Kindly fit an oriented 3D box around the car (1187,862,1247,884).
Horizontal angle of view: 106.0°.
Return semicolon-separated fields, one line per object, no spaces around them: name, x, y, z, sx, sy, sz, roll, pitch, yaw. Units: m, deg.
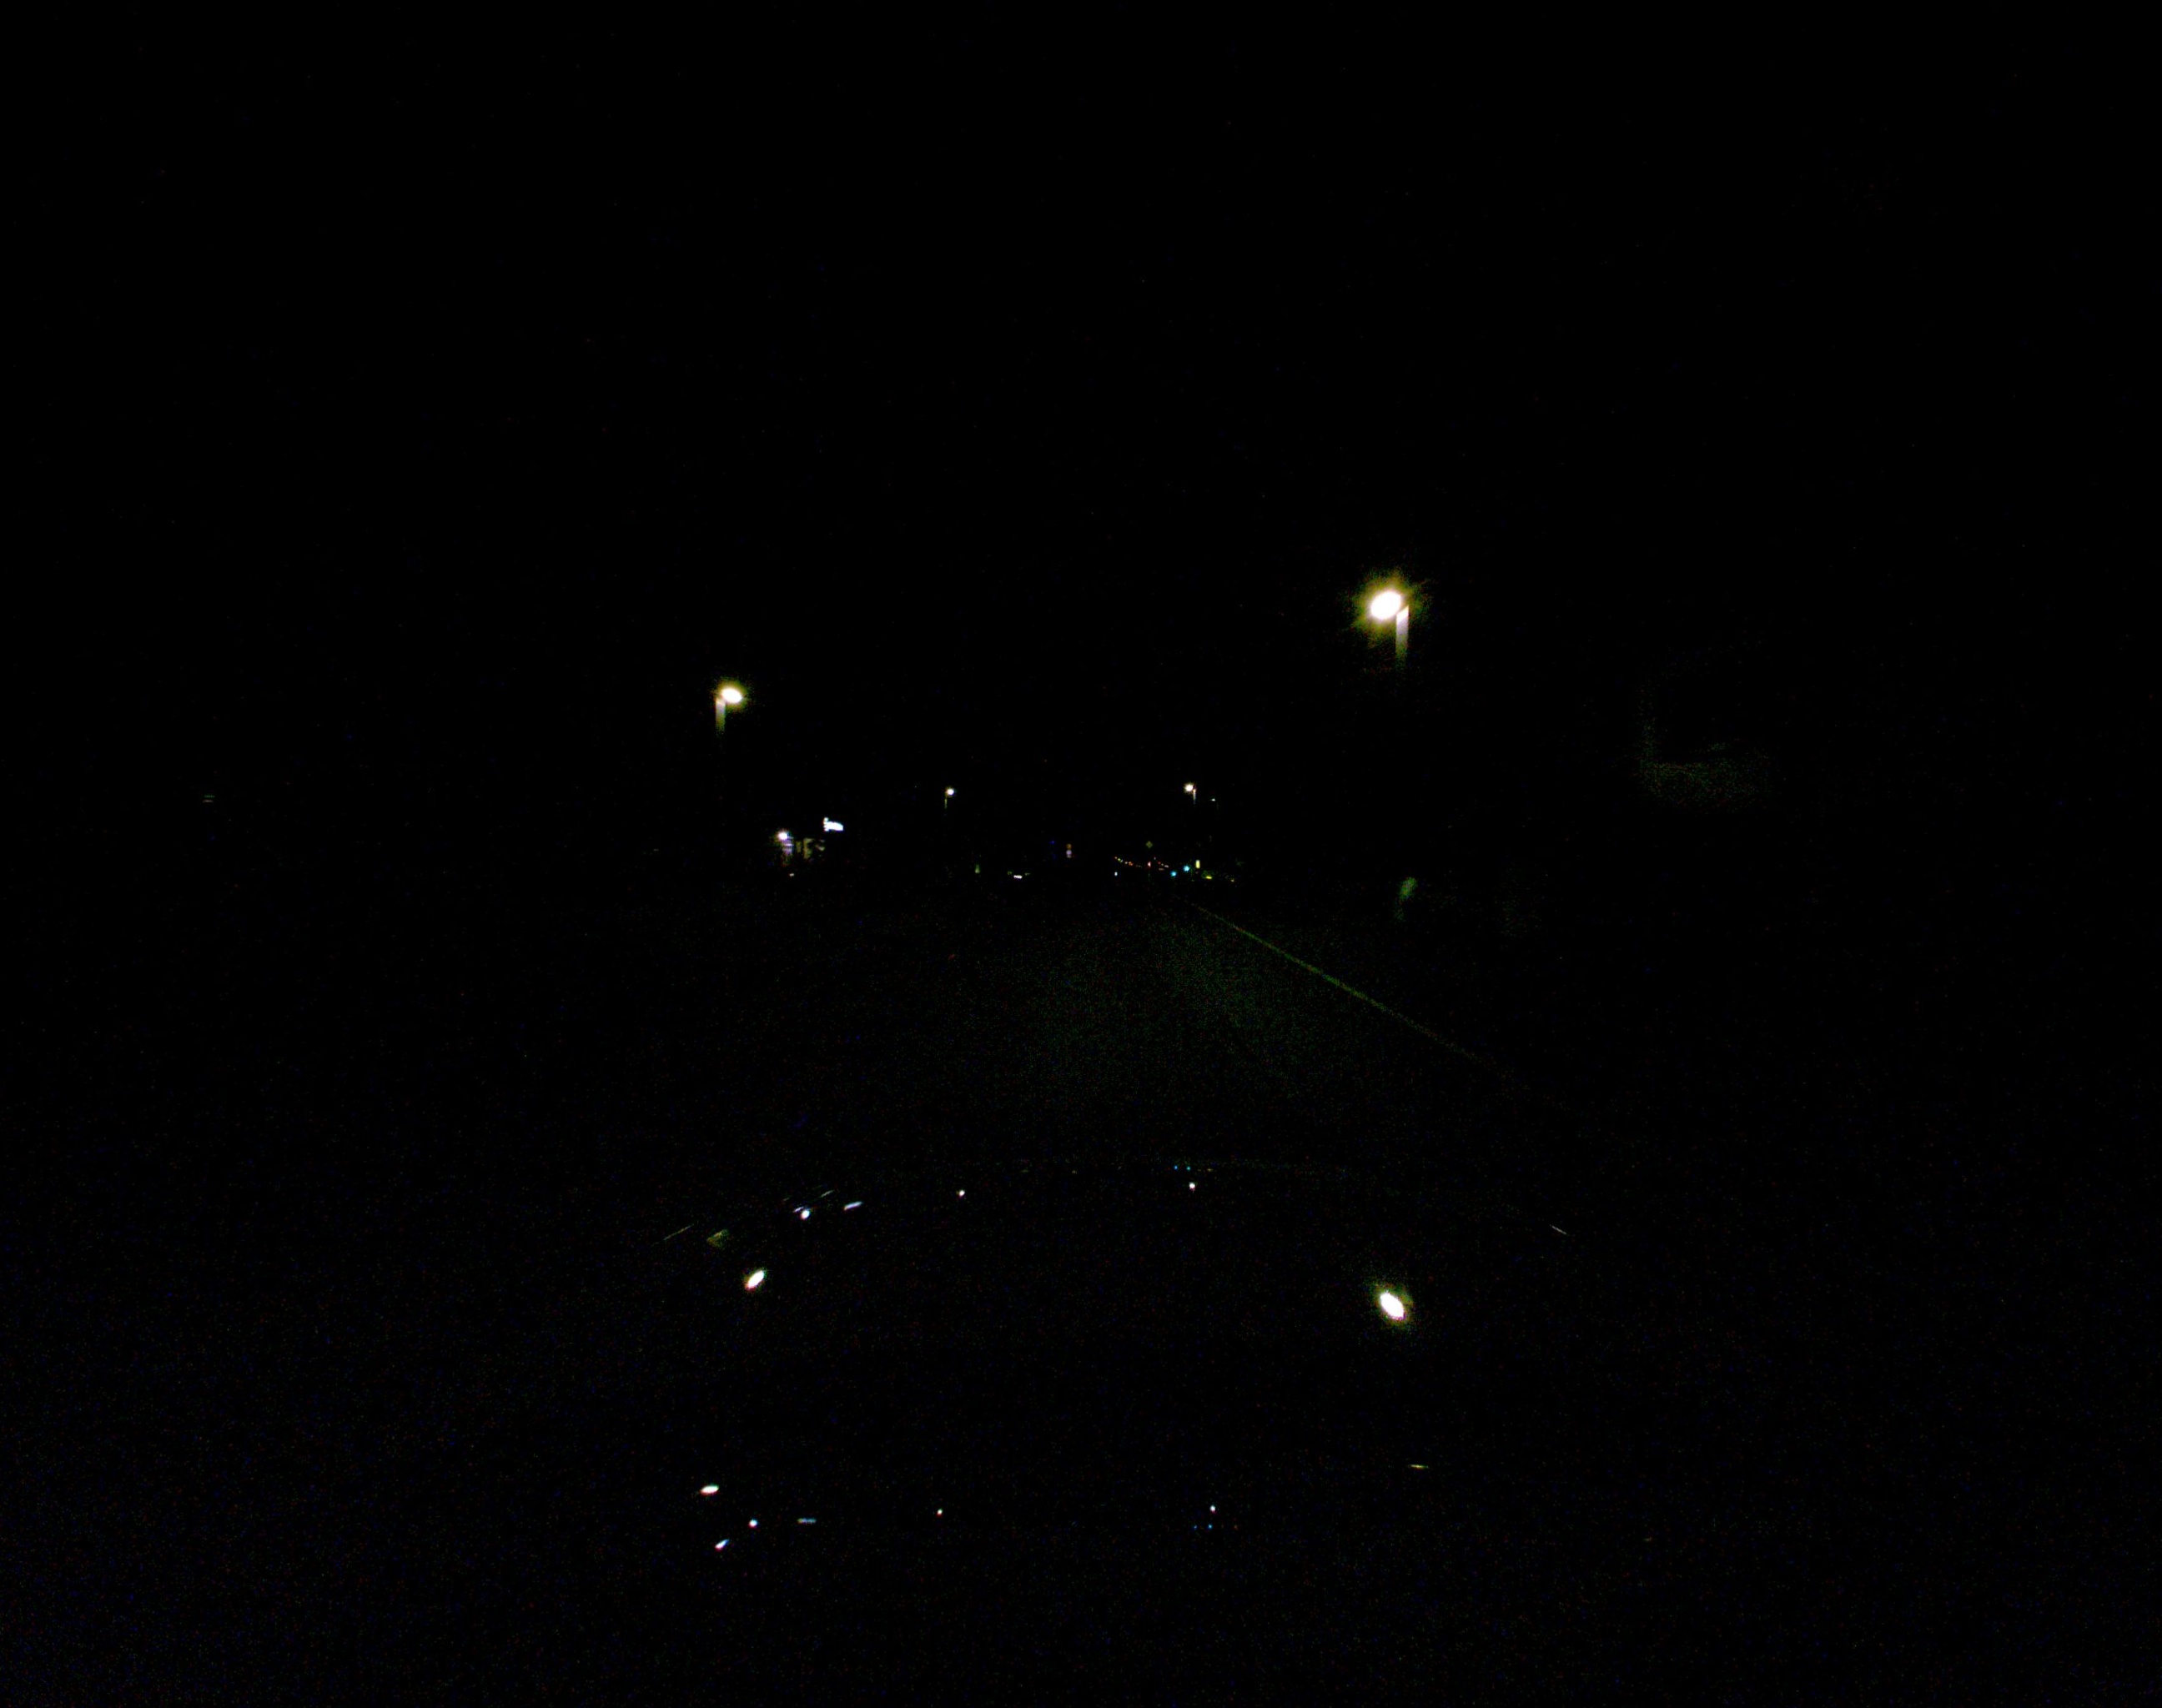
car;8.370;1.167;50.351;3.381;1.232;1.724;1;0;0

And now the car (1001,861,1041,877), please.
car;-6.207;1.556;84.296;3.681;1.627;1.792;-1;-2;20

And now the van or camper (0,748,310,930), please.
van or camper;-17.316;-0.232;14.136;2.067;2.747;5.930;1;0;1

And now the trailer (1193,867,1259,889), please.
trailer;8.204;1.366;46.384;3.419;1.002;1.955;3;-1;1

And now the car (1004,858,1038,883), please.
car;-3.971;1.081;54.096;1.665;1.591;3.991;1;-1;4
